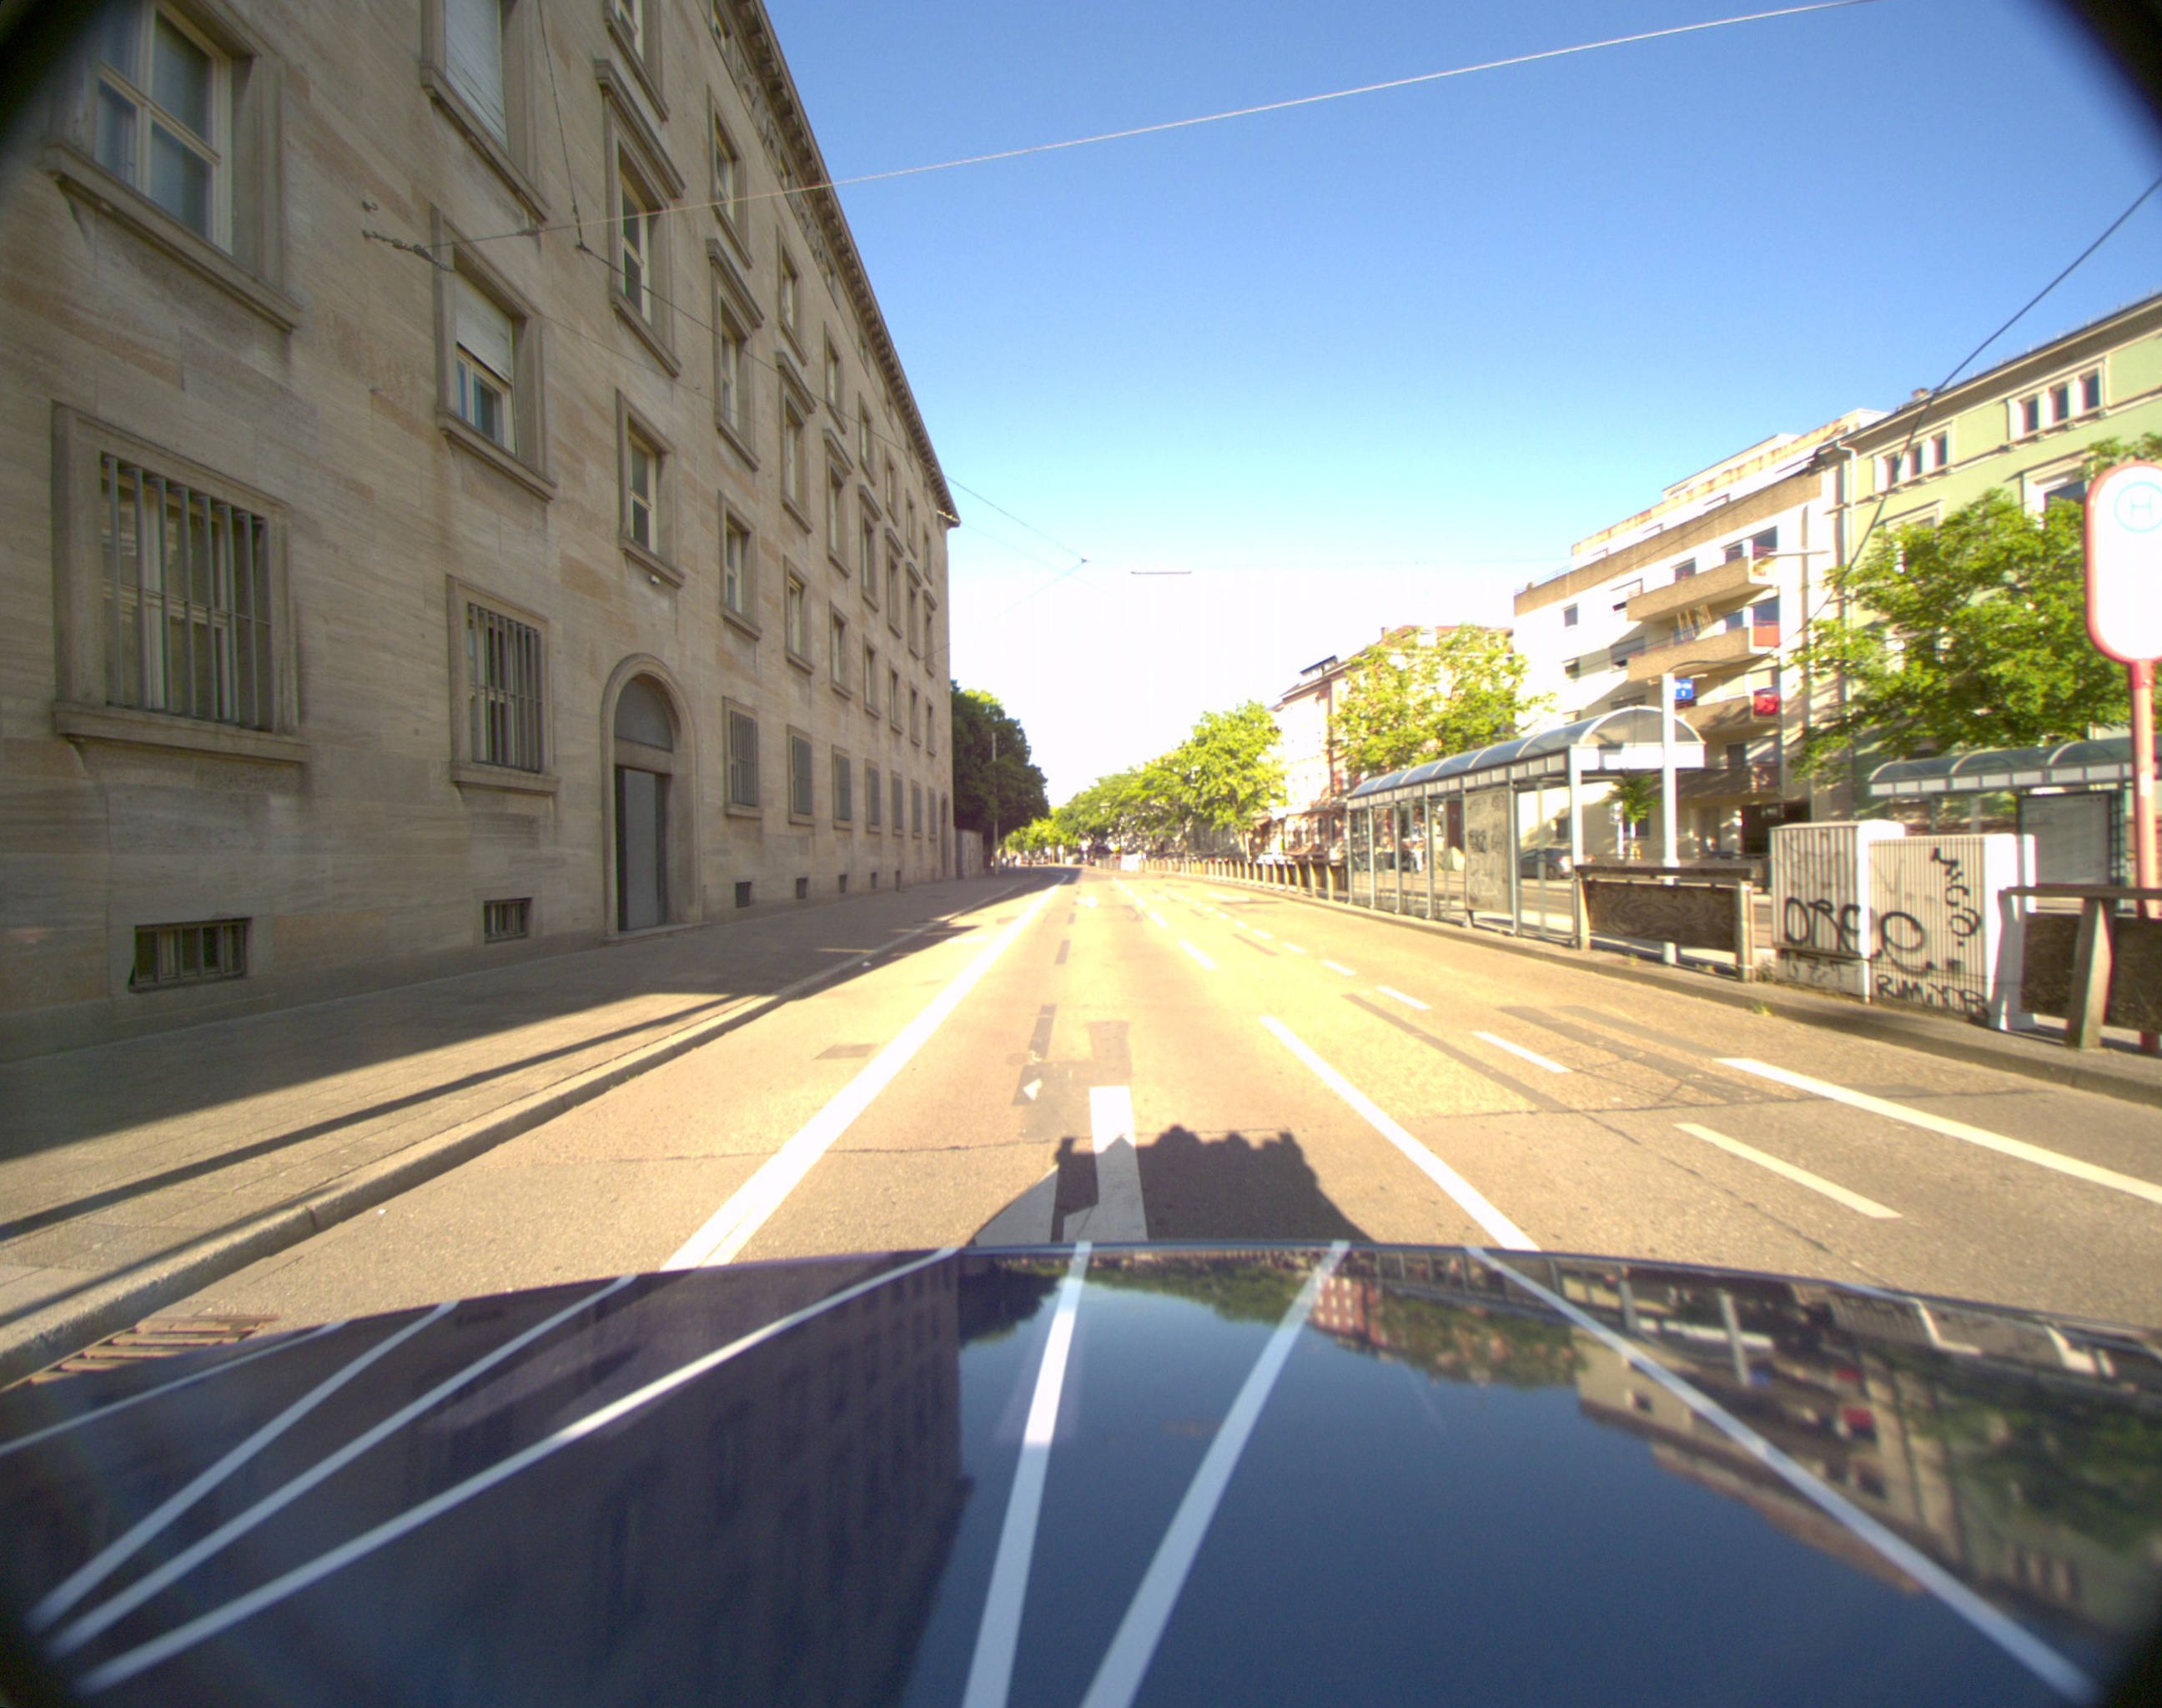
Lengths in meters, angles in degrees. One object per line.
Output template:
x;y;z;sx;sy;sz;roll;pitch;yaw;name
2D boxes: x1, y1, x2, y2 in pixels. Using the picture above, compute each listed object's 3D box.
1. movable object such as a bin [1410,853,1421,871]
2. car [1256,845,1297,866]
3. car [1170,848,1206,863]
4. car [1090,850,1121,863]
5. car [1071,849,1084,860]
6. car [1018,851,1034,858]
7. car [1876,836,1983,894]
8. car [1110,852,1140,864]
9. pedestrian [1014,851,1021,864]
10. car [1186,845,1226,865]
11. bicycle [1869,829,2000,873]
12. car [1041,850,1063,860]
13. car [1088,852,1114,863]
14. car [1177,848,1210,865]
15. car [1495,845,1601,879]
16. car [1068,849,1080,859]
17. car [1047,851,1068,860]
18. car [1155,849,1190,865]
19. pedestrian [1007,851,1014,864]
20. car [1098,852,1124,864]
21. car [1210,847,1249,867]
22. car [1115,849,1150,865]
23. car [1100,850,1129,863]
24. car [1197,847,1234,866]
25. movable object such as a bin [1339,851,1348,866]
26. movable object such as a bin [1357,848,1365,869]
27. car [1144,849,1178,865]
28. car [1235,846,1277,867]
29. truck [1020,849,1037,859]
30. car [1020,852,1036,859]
21.474;0.511;48.773;0.380;1.090;0.552;-1;2;-6;movable object such as a bin
16.393;0.110;63.619;1.731;1.513;3.923;-3;1;41;car
11.818;0.158;83.888;3.829;1.477;1.766;-4;2;-41;car
3.744;0.386;117.257;4.366;1.704;1.944;-4;2;-35;car
-0.675;0.115;142.050;1.673;1.886;3.211;-1;0;-12;car
-14.148;0.225;196.862;3.775;1.584;1.670;-4;1;-18;car
24.776;0.269;22.317;4.524;1.417;1.868;-4;2;-45;car
6.334;0.557;109.206;4.208;1.549;1.636;-4;1;-41;car
-8.647;0.435;103.194;0.872;1.710;0.804;-1;1;-3;pedestrian
12.802;0.099;77.513;4.293;1.713;1.703;-6;3;-43;car
29.088;-0.101;26.002;0.719;1.390;3.007;-1;0;-14;bicycle
-6.096;0.198;161.243;4.311;1.940;1.670;-4;1;-19;car
3.193;0.533;120.230;4.007;1.478;1.777;-4;2;-44;car
12.009;0.281;81.139;3.286;1.524;1.703;-6;2;-43;car
20.932;0.328;34.295;1.711;1.402;4.289;-1;0;-8;car
-1.319;-0.007;146.220;1.673;1.886;3.211;-1;0;-12;car
-4.854;0.360;158.132;4.105;1.561;1.670;-4;1;-18;car
10.527;0.298;86.961;3.877;1.645;1.768;-4;2;-41;car
-9.600;0.481;103.329;0.831;1.710;0.804;-1;1;-6;pedestrian
4.586;0.603;114.837;1.744;1.511;3.772;-2;2;44;car
13.977;0.247;71.399;1.630;1.607;3.993;-2;1;43;car
6.406;0.346;94.294;4.209;1.788;1.781;-3;1;-41;car
4.873;0.373;111.639;4.208;1.714;1.780;-5;2;-44;car
13.160;0.260;74.128;1.630;1.607;3.993;-2;1;43;car
18.012;0.309;52.190;0.380;1.062;0.639;-1;1;0;movable object such as a bin
18.854;0.284;51.167;0.380;1.418;0.386;-1;1;0;movable object such as a bin
9.531;0.340;90.429;3.877;1.645;1.768;-4;2;-41;car
15.380;0.203;66.695;3.929;1.499;1.685;-5;1;-43;car
-13.186;-0.028;190.813;3.774;2.409;1.671;-4;1;-13;truck
-13.552;0.411;193.646;3.775;1.584;1.670;-4;1;-18;car
